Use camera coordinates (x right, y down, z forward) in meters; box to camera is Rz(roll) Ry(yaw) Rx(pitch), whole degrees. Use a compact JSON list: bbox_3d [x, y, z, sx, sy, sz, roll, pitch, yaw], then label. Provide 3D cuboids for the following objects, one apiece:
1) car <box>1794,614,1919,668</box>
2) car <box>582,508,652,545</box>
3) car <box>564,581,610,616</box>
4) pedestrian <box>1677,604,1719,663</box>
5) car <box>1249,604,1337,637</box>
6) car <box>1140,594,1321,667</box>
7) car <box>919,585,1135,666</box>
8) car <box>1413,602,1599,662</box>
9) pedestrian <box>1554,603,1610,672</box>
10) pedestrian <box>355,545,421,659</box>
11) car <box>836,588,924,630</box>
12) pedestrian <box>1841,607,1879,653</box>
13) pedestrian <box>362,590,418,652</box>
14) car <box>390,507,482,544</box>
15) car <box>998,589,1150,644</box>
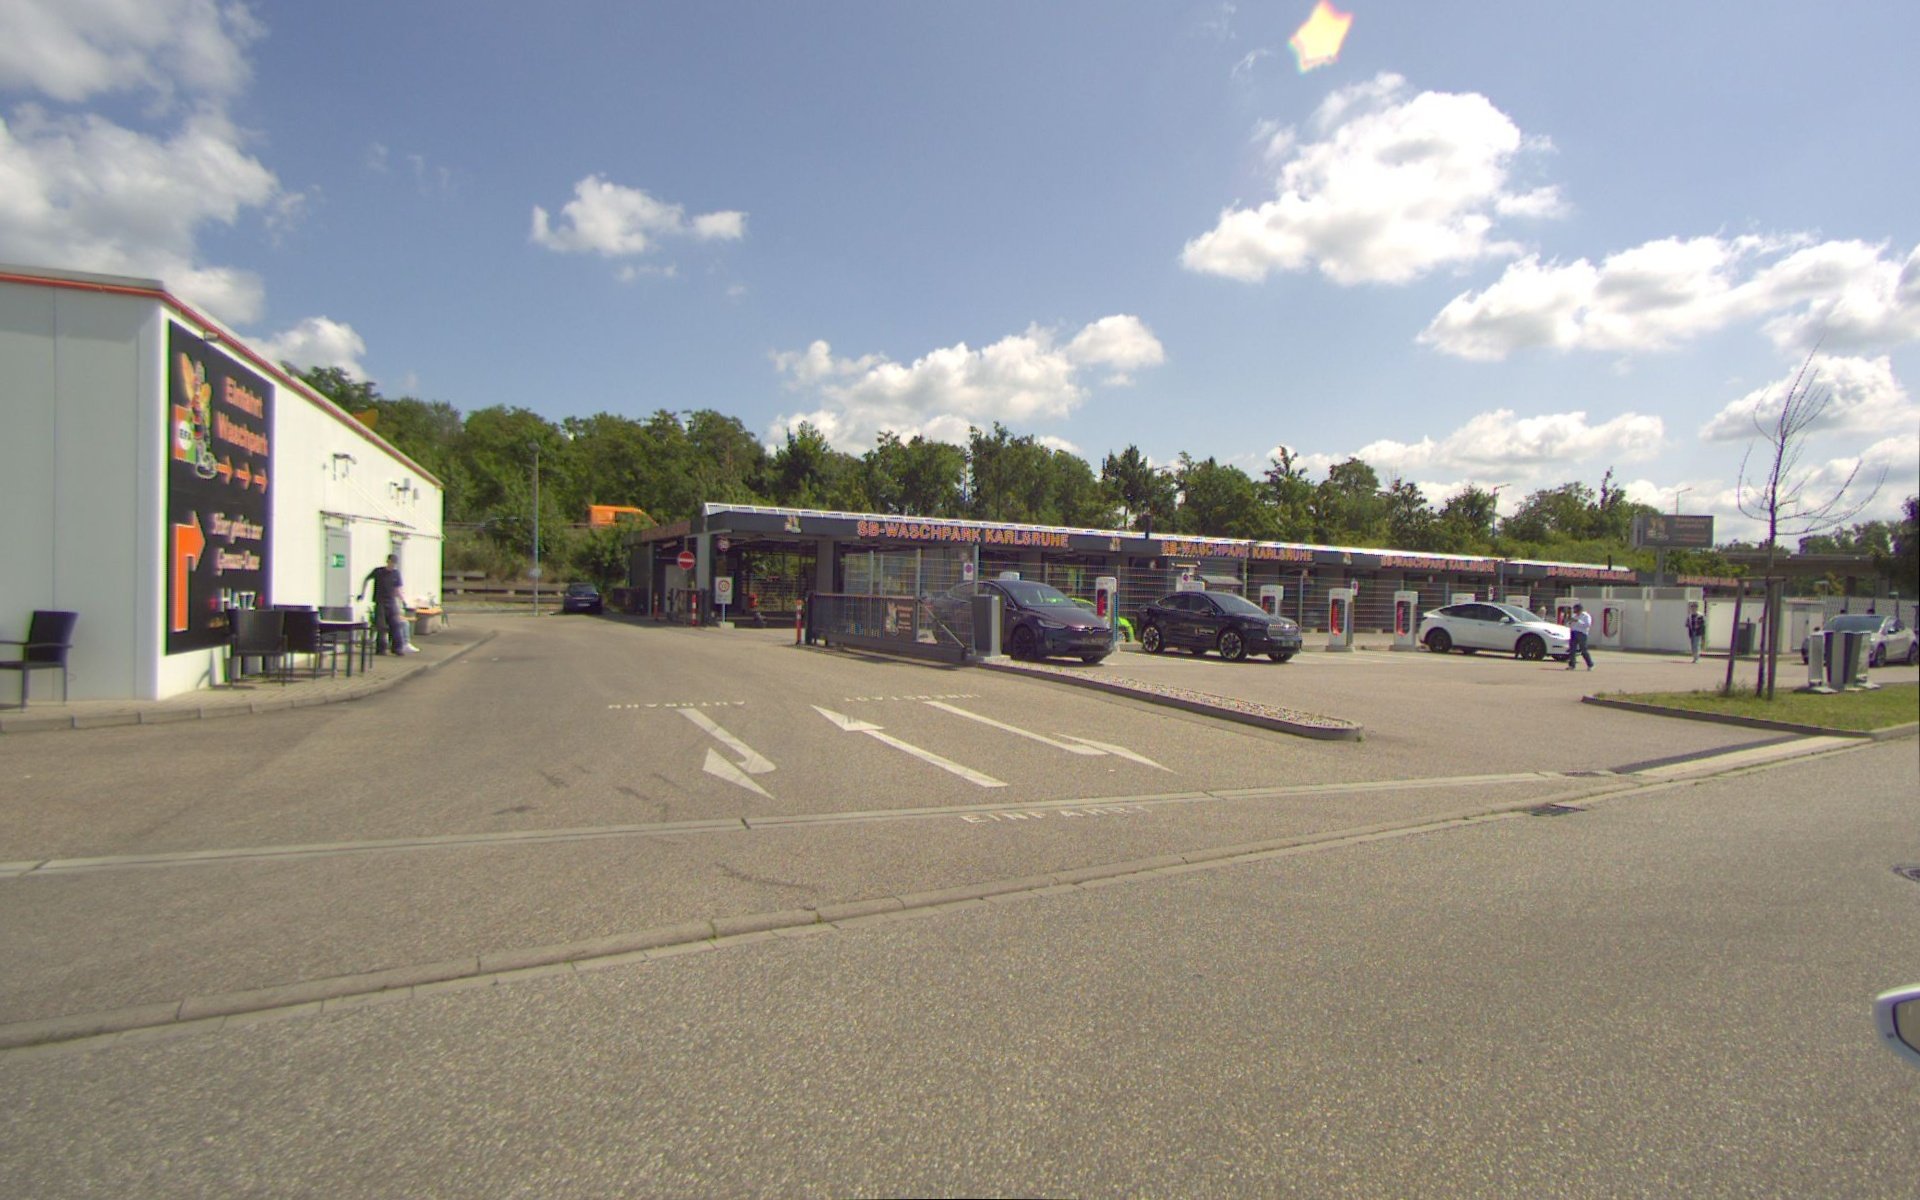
[{"bbox_3d":[29.538,1.285,32.931,4.720,1.538,1.920,0,2,-31],"label":"car"},{"bbox_3d":[-22.564,-4.775,66.084,3.961,2.040,1.980,2,0,-36],"label":"car"},{"bbox_3d":[-17.795,-0.080,47.844,1.862,1.525,3.978,2,-1,-23],"label":"car"},{"bbox_3d":[23.031,1.045,31.343,0.721,1.775,0.855,1,1,-39],"label":"pedestrian"},{"bbox_3d":[17.257,1.060,52.214,1.977,1.583,3.966,2,-1,-31],"label":"car"},{"bbox_3d":[6.482,0.695,24.444,1.978,1.539,3.965,2,0,-32],"label":"car"},{"bbox_3d":[1.292,0.471,21.481,2.214,1.475,4.717,1,1,-33],"label":"car"},{"bbox_3d":[16.389,0.928,30.360,1.979,1.544,4.523,2,0,-33],"label":"car"},{"bbox_3d":[15.700,0.926,25.356,0.931,1.675,0.857,1,1,-34],"label":"pedestrian"},{"bbox_3d":[-10.731,0.040,18.848,0.858,2.040,0.930,4,-1,-39],"label":"pedestrian"},{"bbox_3d":[-3.261,0.342,40.398,1.977,1.583,3.966,2,-1,-31],"label":"car"},{"bbox_3d":[31.909,1.059,35.611,0.707,1.600,0.714,2,0,8],"label":"pedestrian"},{"bbox_3d":[-11.521,0.427,20.310,0.836,1.181,0.703,4,-1,-39],"label":"pedestrian"},{"bbox_3d":[-29.537,-4.155,56.691,4.336,1.673,1.978,2,-1,-38],"label":"car"},{"bbox_3d":[3.478,0.505,30.505,4.247,1.502,1.908,2,0,-29],"label":"car"}]
